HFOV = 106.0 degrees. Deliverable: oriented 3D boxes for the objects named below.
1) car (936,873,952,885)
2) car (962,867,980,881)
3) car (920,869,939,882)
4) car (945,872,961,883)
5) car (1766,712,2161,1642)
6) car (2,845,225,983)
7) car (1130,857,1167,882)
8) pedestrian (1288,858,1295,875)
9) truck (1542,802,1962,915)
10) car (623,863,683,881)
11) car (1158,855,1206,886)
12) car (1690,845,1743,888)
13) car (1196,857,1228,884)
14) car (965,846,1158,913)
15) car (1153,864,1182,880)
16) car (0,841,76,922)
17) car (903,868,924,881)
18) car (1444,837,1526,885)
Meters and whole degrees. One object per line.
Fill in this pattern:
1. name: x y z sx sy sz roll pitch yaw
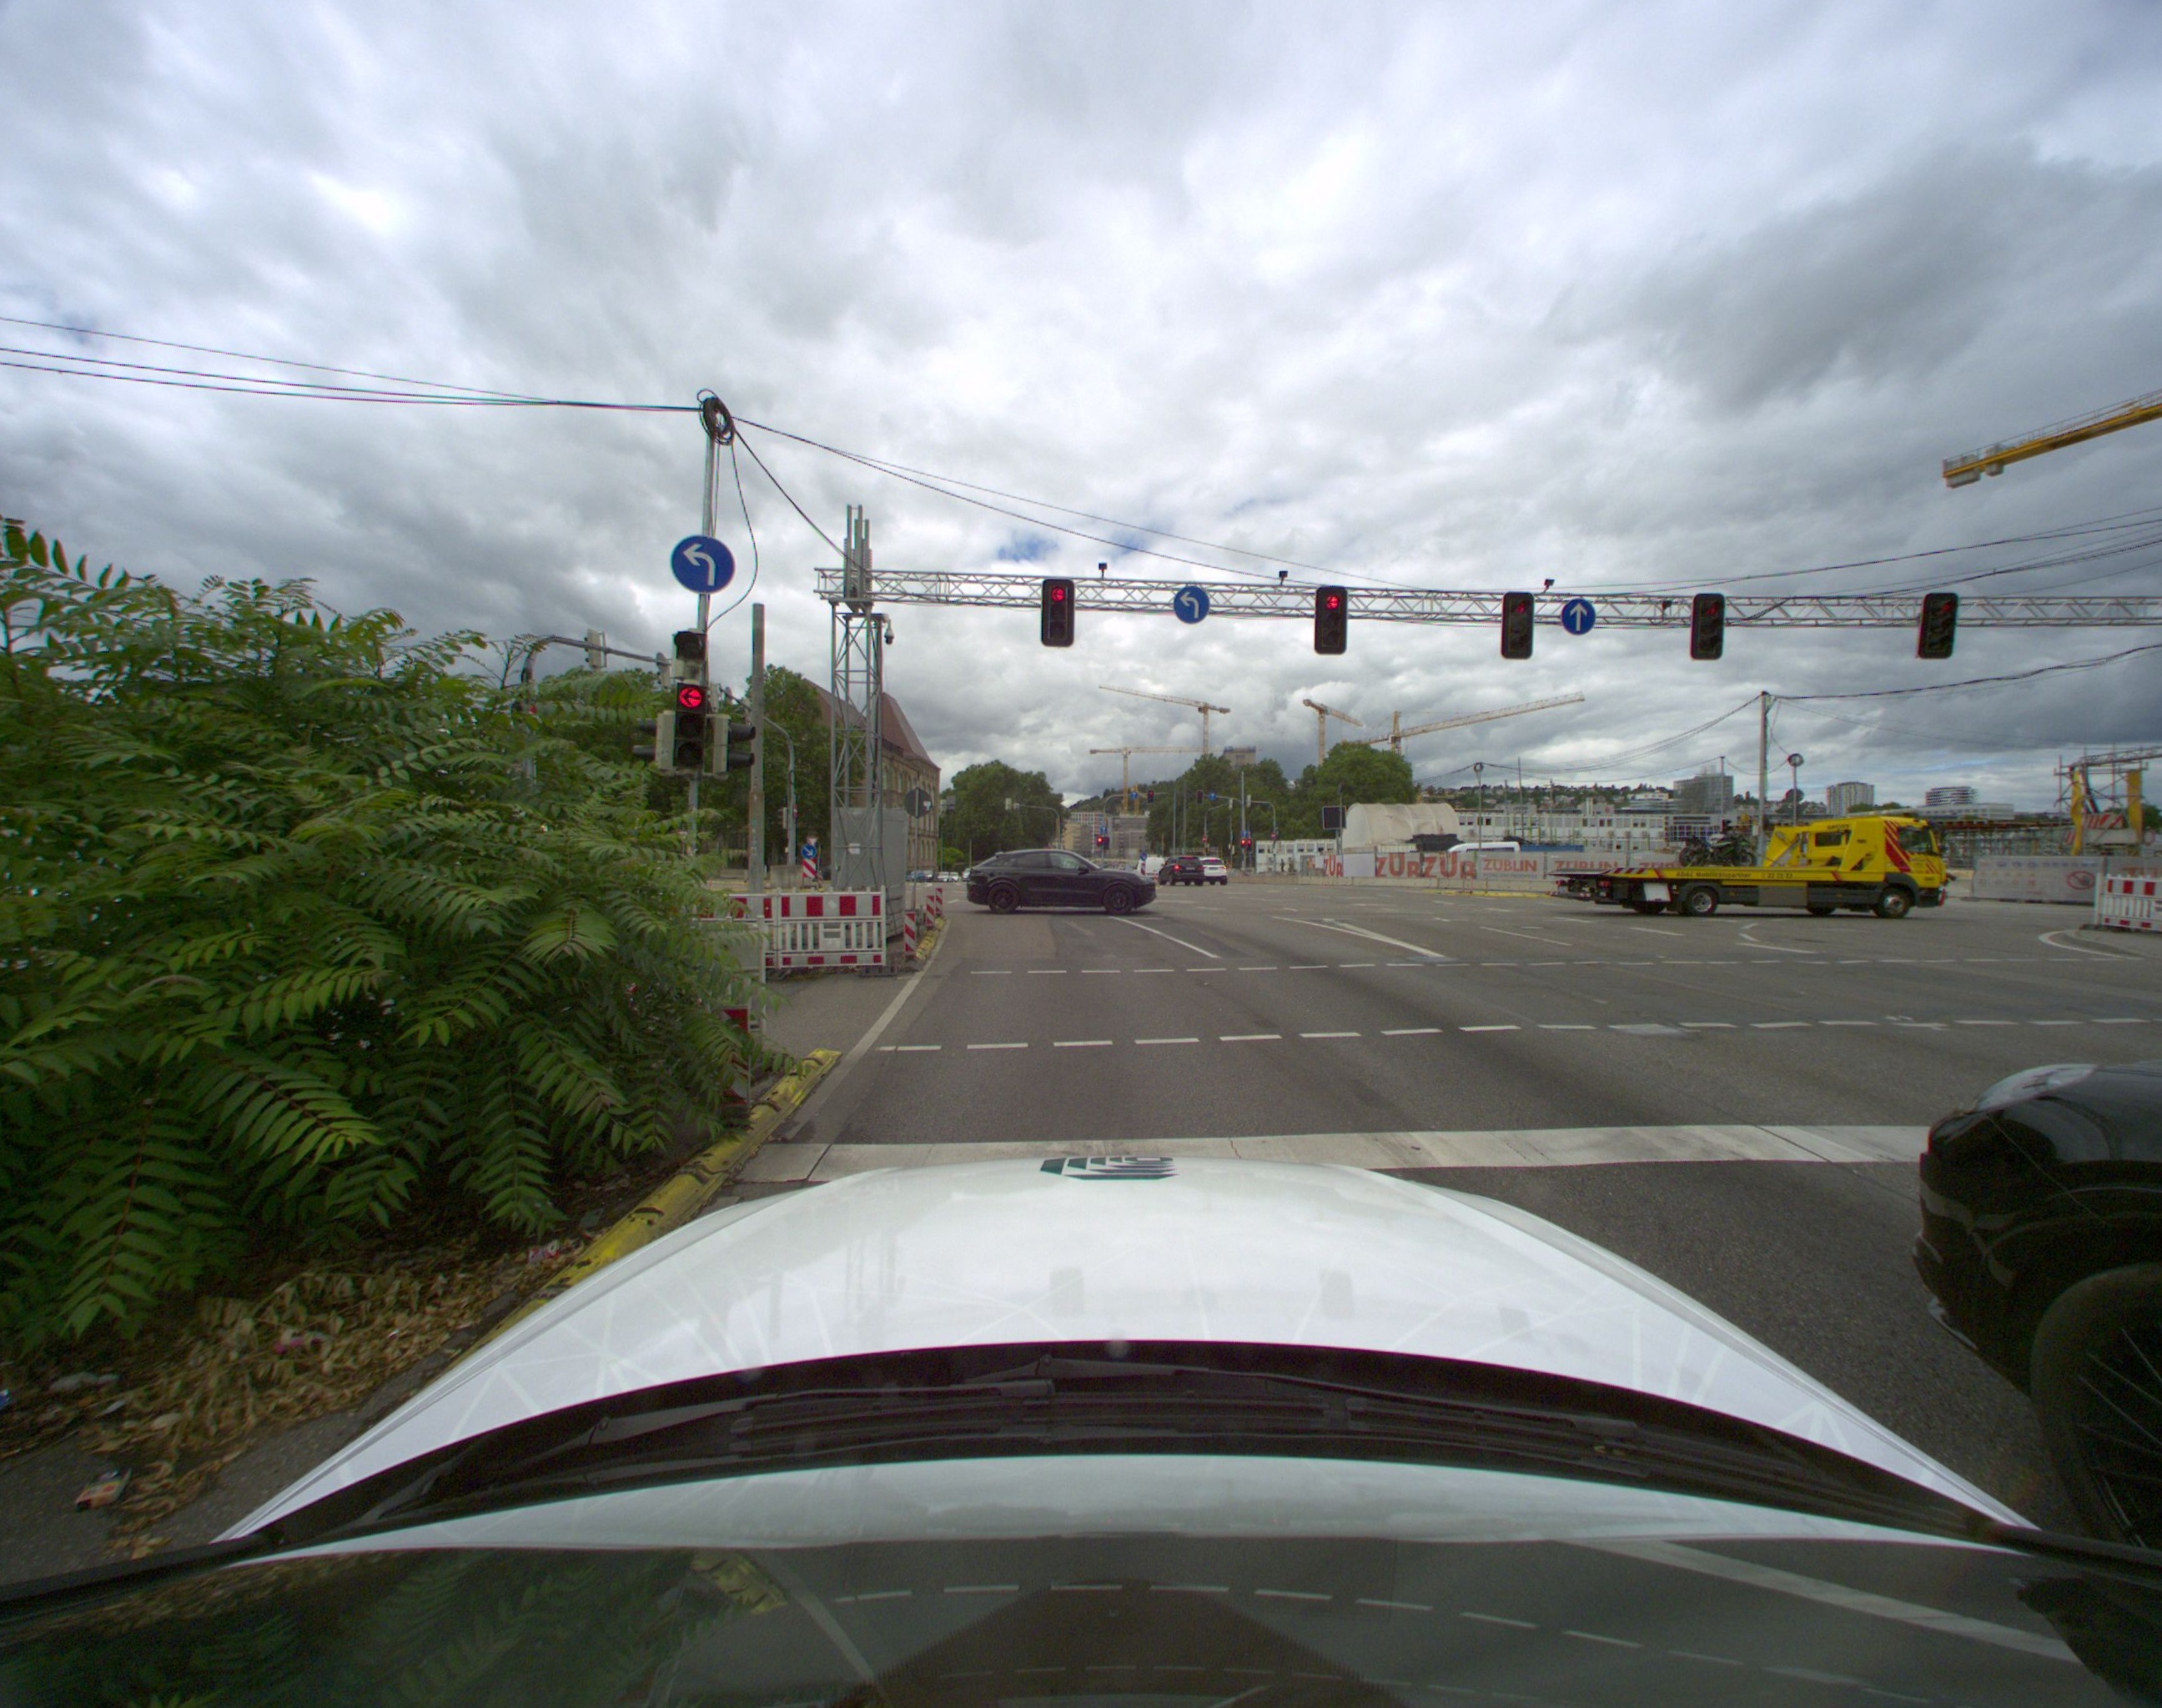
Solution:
1. car: -17.148 3.136 101.955 1.673 1.398 3.677 0 -1 -4
2. car: -11.612 2.120 86.075 1.673 1.398 3.677 0 -1 -4
3. car: -17.391 2.453 93.505 1.673 1.398 3.677 0 -1 -4
4. car: -16.997 3.145 107.994 1.672 1.398 3.677 -1 -3 -3
5. car: 2.854 0.579 0.126 1.817 1.715 4.486 0 -1 2
6. car: -14.311 0.763 12.123 4.213 1.691 1.888 -1 -1 40
7. car: 4.570 1.018 55.574 1.814 1.625 3.992 0 -1 -5
8. pedestrian: 21.637 1.316 83.546 0.528 1.748 0.465 0 0 -22
9. truck: 17.377 0.113 21.495 8.951 2.803 2.627 0 0 0
10. car: -31.401 1.315 59.805 3.615 1.254 1.672 0 -1 -17
11. car: 5.961 0.940 48.489 1.830 1.746 4.244 0 -1 -8
12. car: 30.133 0.561 38.692 1.755 1.954 3.146 -1 -1 34
13. car: 8.481 1.056 52.996 1.670 1.702 3.375 0 -1 2
14. car: -0.516 0.626 21.266 4.798 1.625 2.018 0 -1 -4
15. car: 8.026 1.682 75.955 1.680 1.398 3.069 0 -1 -16
16. car: -24.191 0.625 16.936 4.081 1.624 1.905 -2 2 0
17. car: -17.898 2.174 87.086 1.673 1.398 3.677 0 -1 -4
18. car: 23.232 0.423 46.967 3.957 2.662 1.688 -1 -1 15
